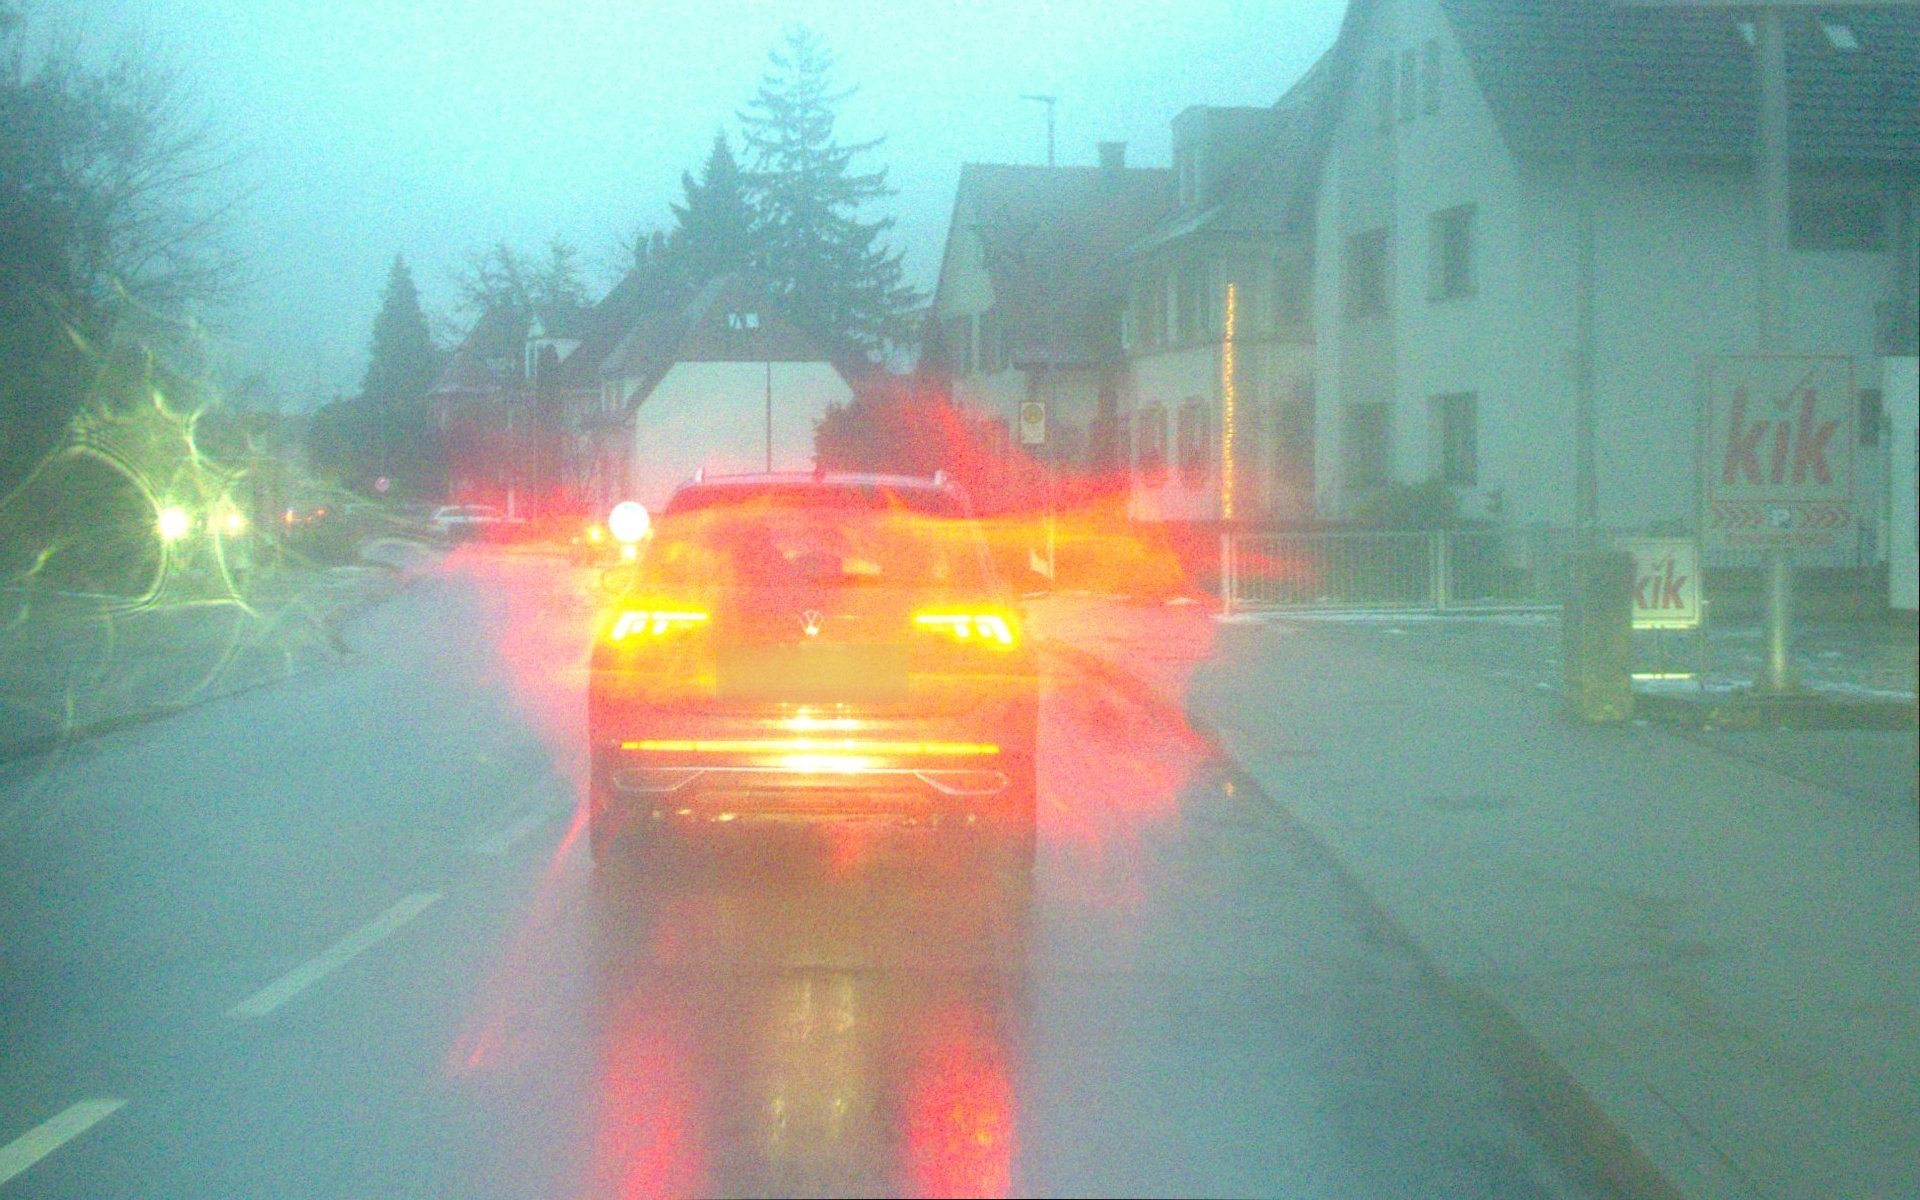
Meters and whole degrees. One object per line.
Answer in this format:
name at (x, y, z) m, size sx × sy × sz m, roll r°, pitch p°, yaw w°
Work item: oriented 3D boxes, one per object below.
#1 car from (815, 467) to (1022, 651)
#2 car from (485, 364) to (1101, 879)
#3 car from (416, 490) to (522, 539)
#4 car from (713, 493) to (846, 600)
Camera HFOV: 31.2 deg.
car at (-0.420, -0.441, 33.369) m, size 1.857 × 1.641 × 4.001 m, roll 1°, pitch 2°, yaw -1°
car at (-0.676, 0.033, 15.438) m, size 2.309 × 1.932 × 5.019 m, roll 0°, pitch 1°, yaw -1°
car at (-20.523, -3.600, 143.709) m, size 4.245 × 2.006 × 1.811 m, roll -1°, pitch 2°, yaw -13°
car at (-3.430, -1.012, 64.502) m, size 2.309 × 1.932 × 5.019 m, roll 0°, pitch 1°, yaw -5°
